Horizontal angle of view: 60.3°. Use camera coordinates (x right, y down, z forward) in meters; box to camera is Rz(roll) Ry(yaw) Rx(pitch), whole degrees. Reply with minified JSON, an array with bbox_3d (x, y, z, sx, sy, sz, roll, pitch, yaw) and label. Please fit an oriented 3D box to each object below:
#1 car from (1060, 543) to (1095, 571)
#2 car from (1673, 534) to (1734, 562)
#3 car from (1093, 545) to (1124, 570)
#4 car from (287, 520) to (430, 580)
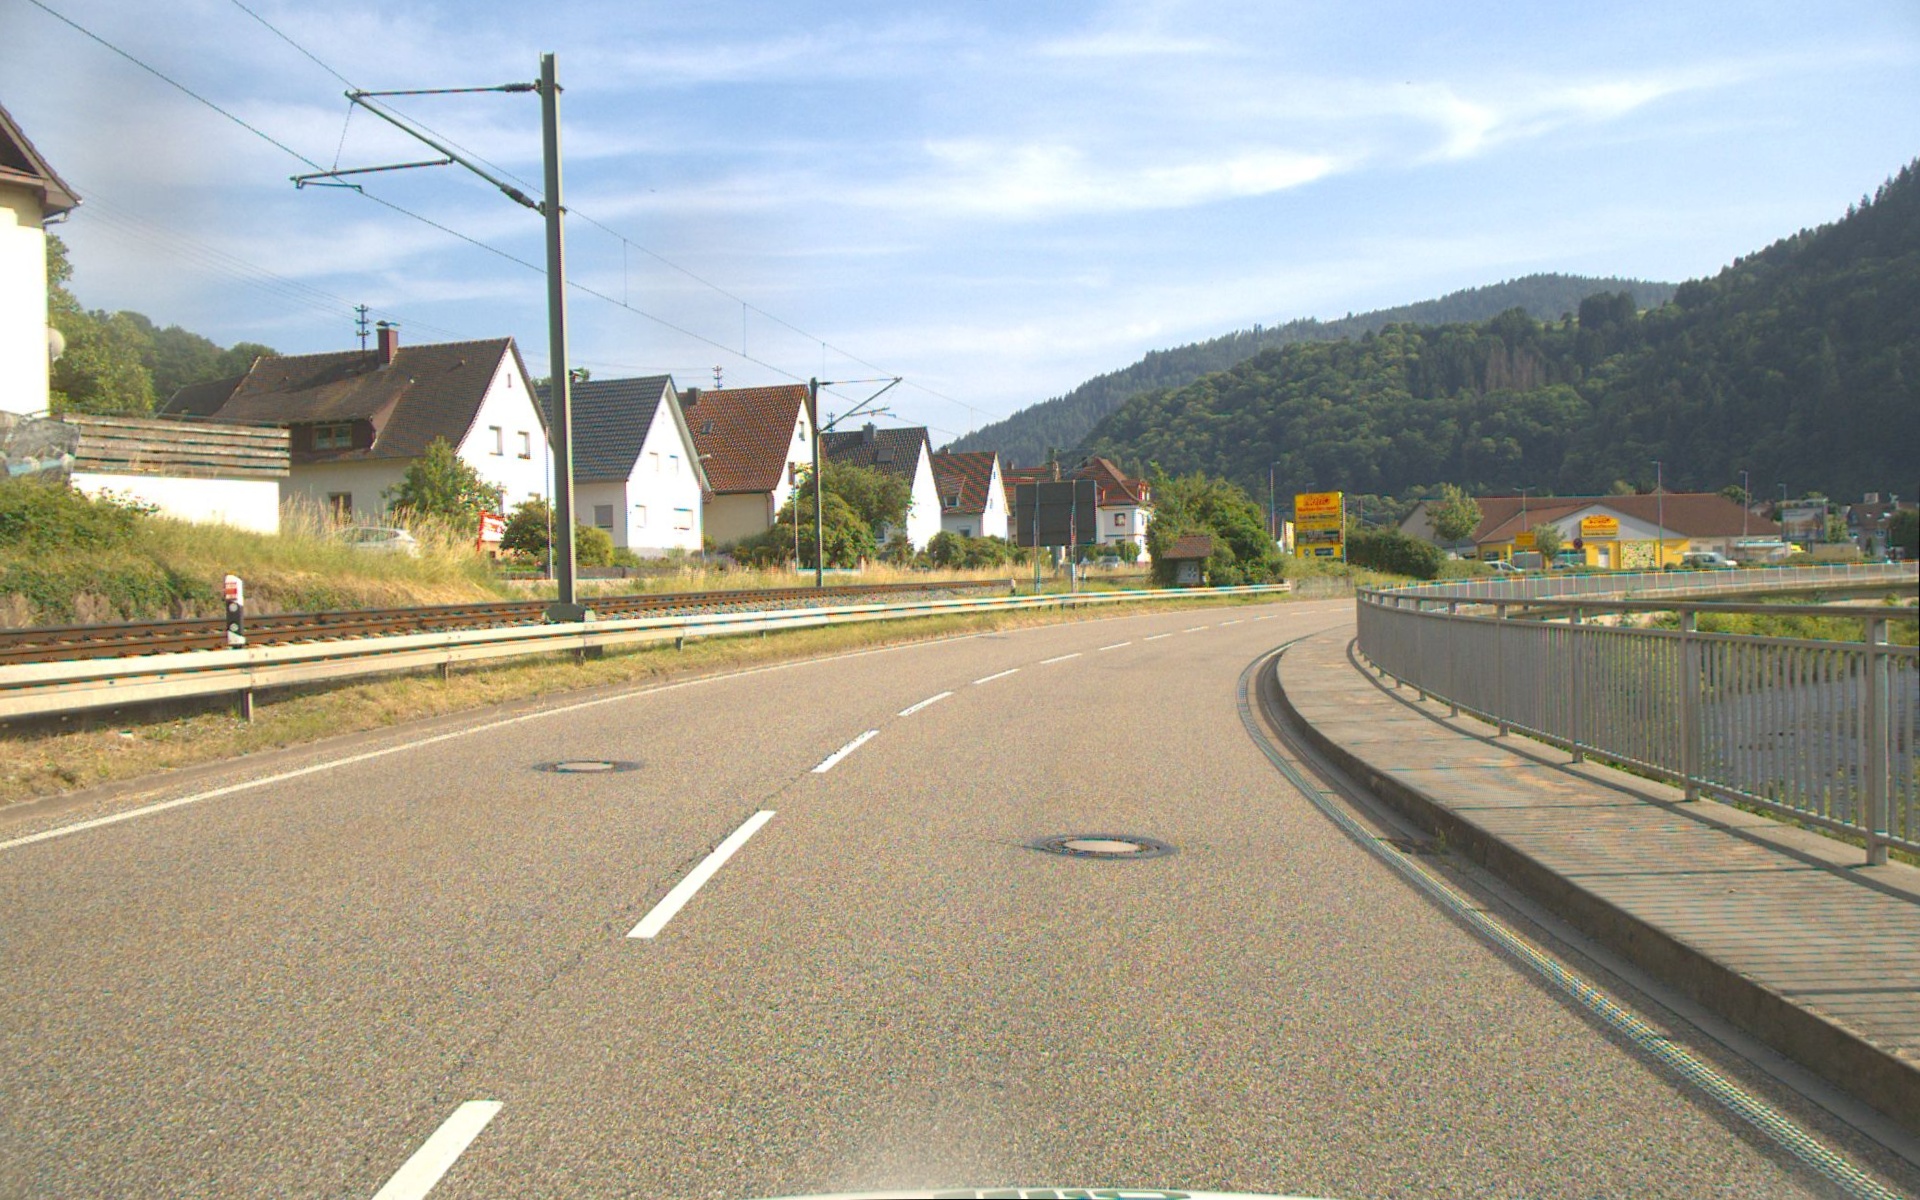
[{"bbox_3d":[9.222,-3.338,129.523,1.952,1.913,4.003,6,2,14],"label":"car"},{"bbox_3d":[59.719,-4.177,132.902,1.981,2.049,3.943,4,-2,-39],"label":"car"},{"bbox_3d":[12.857,-3.657,142.750,1.952,1.913,4.003,6,2,14],"label":"car"},{"bbox_3d":[-18.108,-1.522,49.782,3.959,1.703,1.639,-1,4,-23],"label":"car"}]
